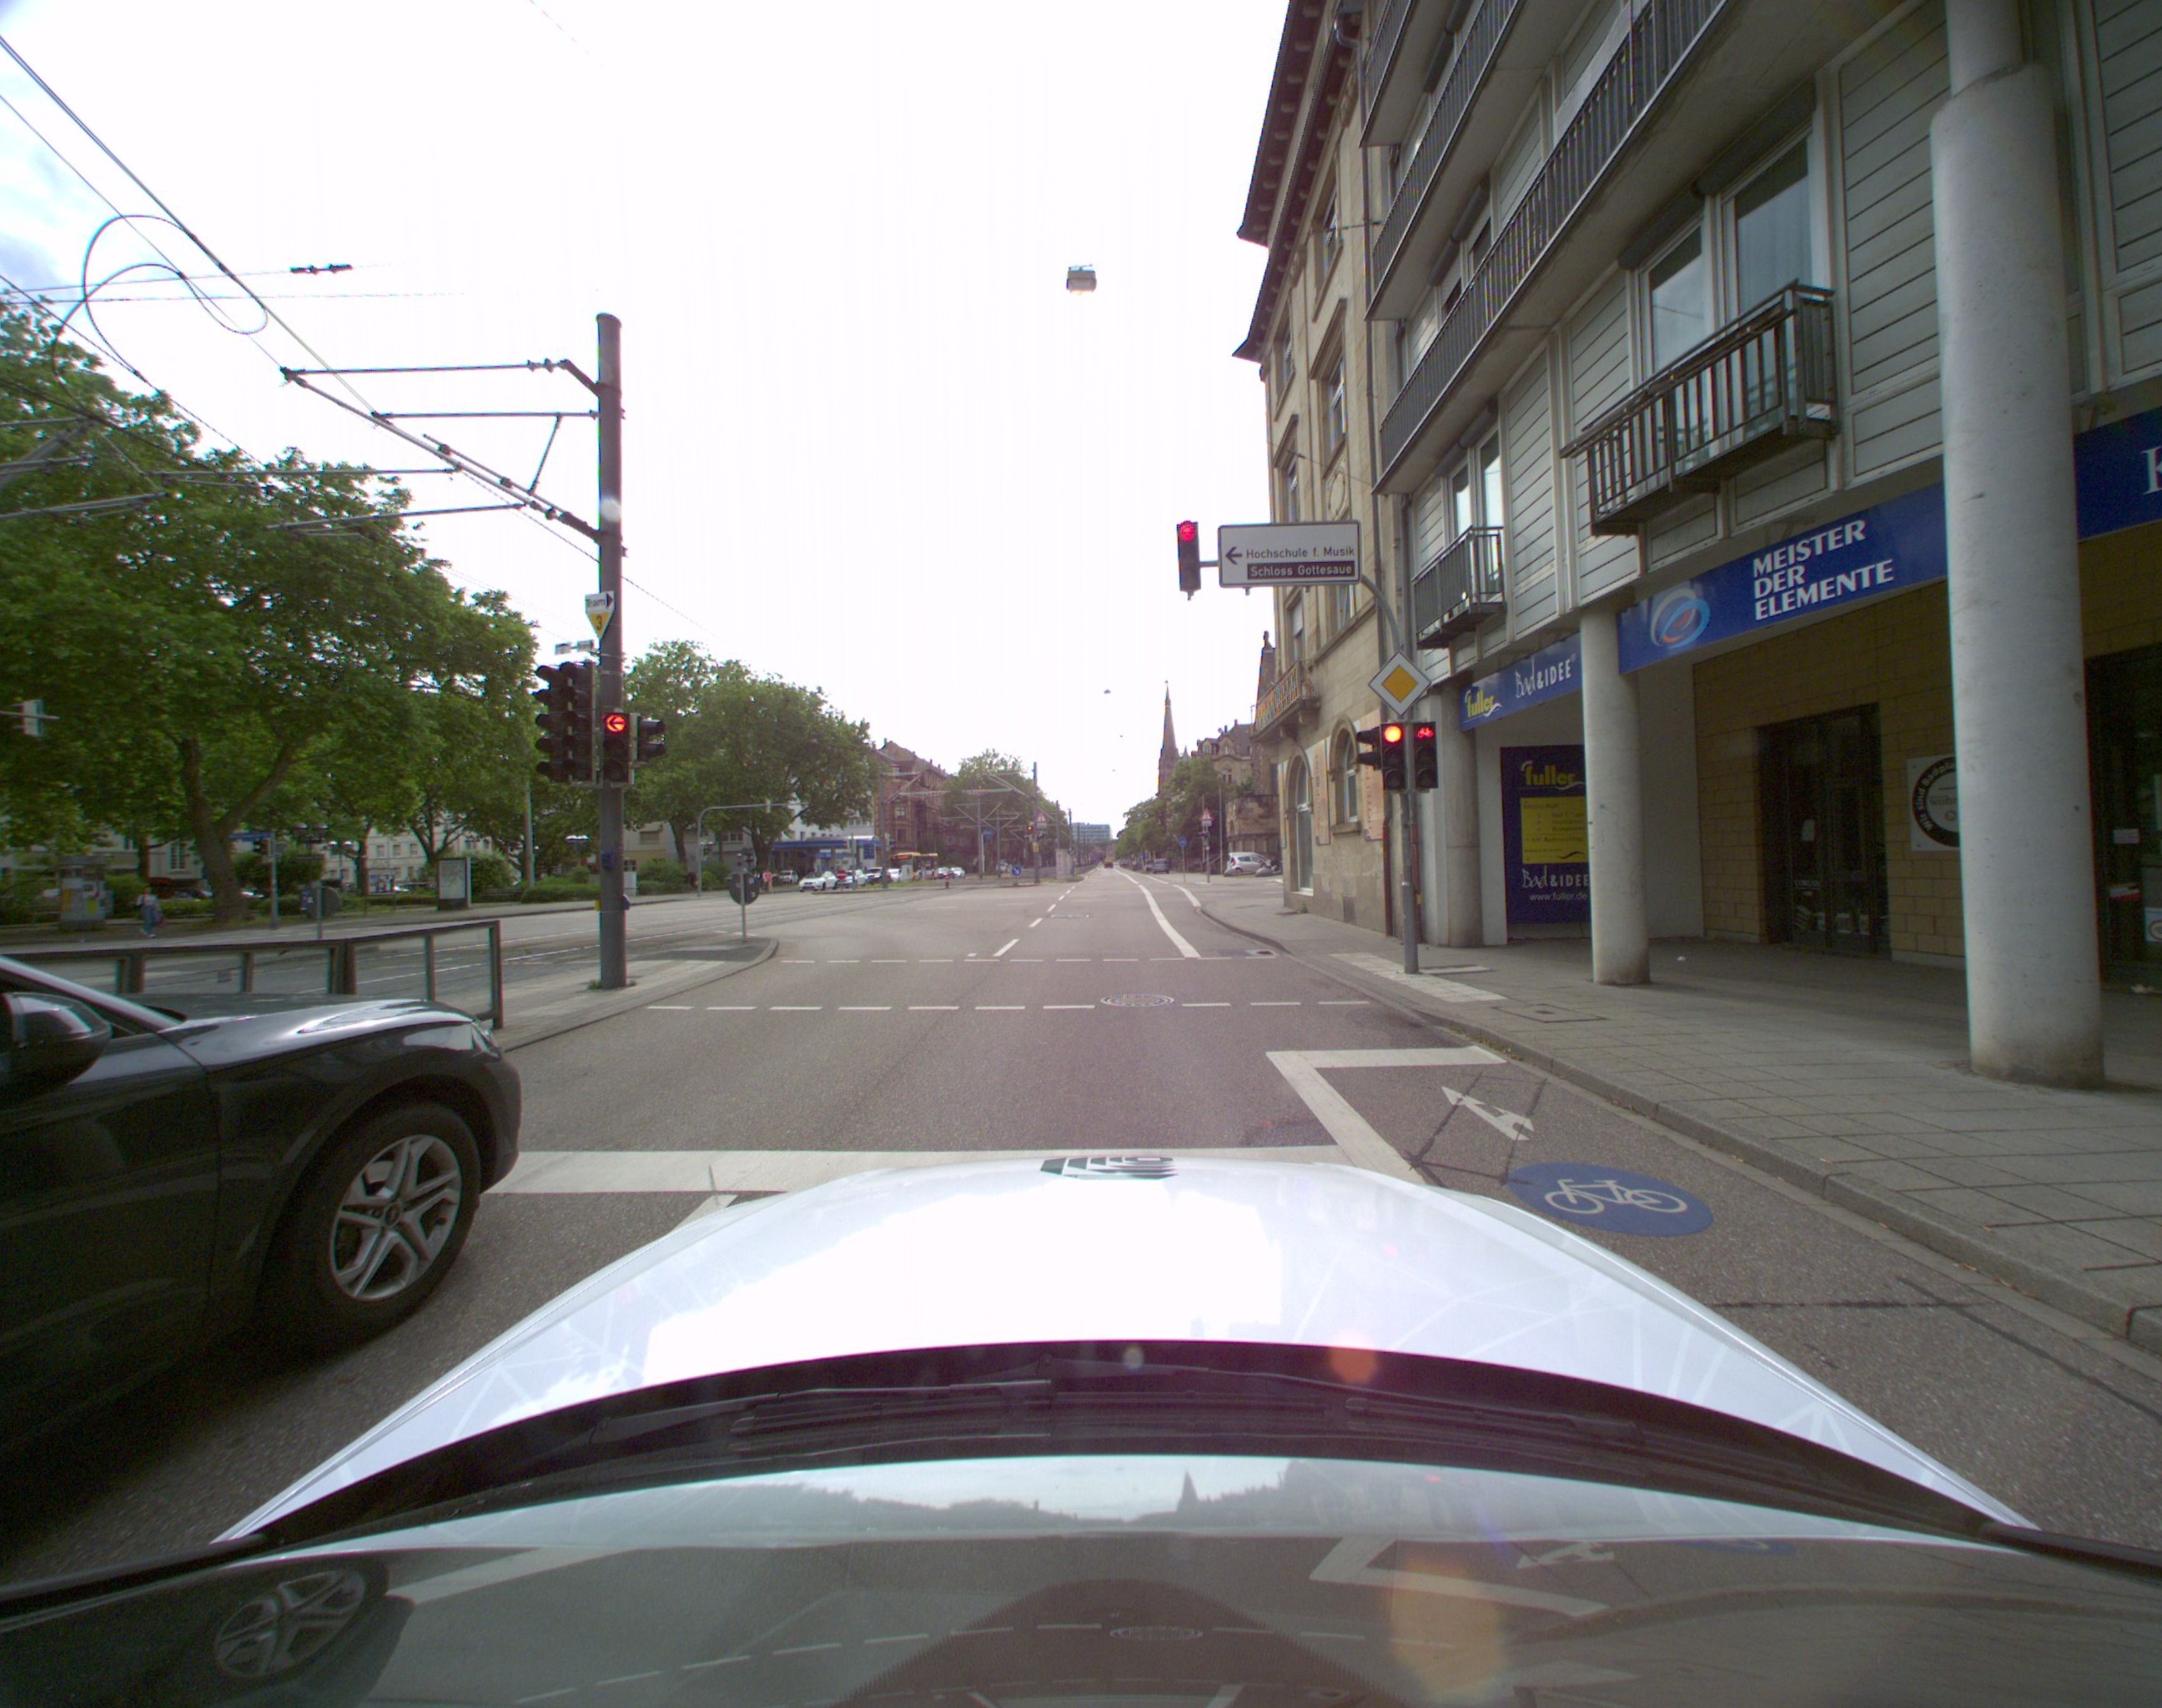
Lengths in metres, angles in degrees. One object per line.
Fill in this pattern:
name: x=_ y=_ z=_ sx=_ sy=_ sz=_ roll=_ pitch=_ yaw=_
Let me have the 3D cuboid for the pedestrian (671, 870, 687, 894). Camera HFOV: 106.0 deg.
pedestrian: x=-28.822 y=1.984 z=58.432 sx=0.858 sy=1.713 sz=0.695 roll=-2 pitch=-1 yaw=38

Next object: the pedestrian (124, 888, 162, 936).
pedestrian: x=-30.744 y=1.881 z=26.699 sx=0.674 sy=1.510 sz=0.661 roll=-2 pitch=-1 yaw=28

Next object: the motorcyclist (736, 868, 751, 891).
motorcyclist: x=-22.759 y=1.713 z=54.963 sx=0.617 sy=1.520 sz=0.874 roll=-1 pitch=-1 yaw=2

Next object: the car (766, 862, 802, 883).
car: x=-29.777 y=1.812 z=81.781 sx=1.986 sy=2.014 sz=4.001 roll=-2 pitch=-1 yaw=2

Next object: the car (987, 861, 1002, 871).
car: x=-15.051 y=2.070 z=142.083 sx=1.986 sy=1.610 sz=4.001 roll=0 pitch=-1 yaw=2

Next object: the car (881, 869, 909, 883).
car: x=-18.159 y=2.105 z=79.632 sx=1.649 sy=1.321 sz=3.641 roll=0 pitch=-1 yaw=3

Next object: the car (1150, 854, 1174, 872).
car: x=8.973 y=0.993 z=89.942 sx=1.979 sy=1.855 sz=4.042 roll=-1 pitch=-1 yaw=14

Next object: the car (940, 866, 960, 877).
car: x=-16.534 y=2.196 z=102.756 sx=1.649 sy=1.321 sz=3.641 roll=0 pitch=-1 yaw=3

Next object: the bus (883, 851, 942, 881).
bus: x=-18.300 y=1.304 z=89.709 sx=3.217 sy=3.035 sz=12.323 roll=0 pitch=0 yaw=4

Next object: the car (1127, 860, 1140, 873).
car: x=8.689 y=2.060 z=135.970 sx=1.986 sy=2.014 sz=4.001 roll=0 pitch=-1 yaw=2

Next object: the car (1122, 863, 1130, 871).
car: x=11.916 y=3.382 z=216.778 sx=1.986 sy=2.014 sz=4.001 roll=0 pitch=-1 yaw=2

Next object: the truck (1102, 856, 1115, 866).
truck: x=7.452 y=1.849 z=217.033 sx=3.042 sy=2.769 sz=9.826 roll=-2 pitch=0 yaw=4

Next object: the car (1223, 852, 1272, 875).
car: x=13.926 y=0.794 z=68.228 sx=3.699 sy=1.855 sz=2.001 roll=0 pitch=-1 yaw=2

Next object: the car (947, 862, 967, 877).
car: x=-16.749 y=2.067 z=110.180 sx=1.986 sy=2.014 sz=4.001 roll=0 pitch=-1 yaw=2

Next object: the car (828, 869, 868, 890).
car: x=-18.845 y=2.060 z=66.068 sx=1.986 sy=1.594 sz=4.001 roll=0 pitch=-1 yaw=2

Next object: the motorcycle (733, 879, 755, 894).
motorcycle: x=-22.764 y=2.183 z=55.081 sx=0.604 sy=0.928 sz=1.953 roll=-2 pitch=-1 yaw=2

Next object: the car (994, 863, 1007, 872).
car: x=-14.792 y=2.452 z=149.892 sx=1.986 sy=1.610 sz=4.001 roll=0 pitch=-1 yaw=2

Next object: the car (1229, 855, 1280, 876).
car: x=13.748 y=0.911 z=64.765 sx=3.699 sy=1.563 sz=2.001 roll=0 pitch=-1 yaw=2

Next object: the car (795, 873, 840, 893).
car: x=-19.220 y=2.080 z=59.518 sx=1.739 sy=1.321 sz=4.079 roll=0 pitch=-1 yaw=4

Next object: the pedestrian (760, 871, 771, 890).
pedestrian: x=-25.277 y=2.125 z=65.205 sx=0.645 sy=1.479 sz=0.557 roll=-2 pitch=-1 yaw=1

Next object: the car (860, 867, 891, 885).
car: x=-18.331 y=1.933 z=72.711 sx=1.649 sy=1.478 sz=3.641 roll=0 pitch=-1 yaw=3

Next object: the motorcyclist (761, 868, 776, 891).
motorcyclist: x=-21.425 y=1.722 z=55.903 sx=0.617 sy=1.520 sz=0.874 roll=-1 pitch=-1 yaw=2

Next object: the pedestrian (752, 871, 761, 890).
pedestrian: x=-25.993 y=2.115 z=65.239 sx=0.474 sy=1.459 sz=0.426 roll=-2 pitch=-1 yaw=1

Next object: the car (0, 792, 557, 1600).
car: x=-3.072 y=0.696 z=1.220 sx=1.727 sy=1.637 sz=4.228 roll=0 pitch=-1 yaw=2

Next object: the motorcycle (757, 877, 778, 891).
motorcycle: x=-21.432 y=2.055 z=55.757 sx=0.604 sy=0.928 sz=1.953 roll=-2 pitch=-1 yaw=2

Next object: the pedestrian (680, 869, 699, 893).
pedestrian: x=-28.399 y=1.944 z=59.070 sx=0.863 sy=1.713 sz=0.881 roll=-2 pitch=-1 yaw=37

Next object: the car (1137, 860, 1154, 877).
car: x=7.891 y=1.703 z=99.604 sx=1.985 sy=2.014 sz=4.004 roll=0 pitch=-1 yaw=4
